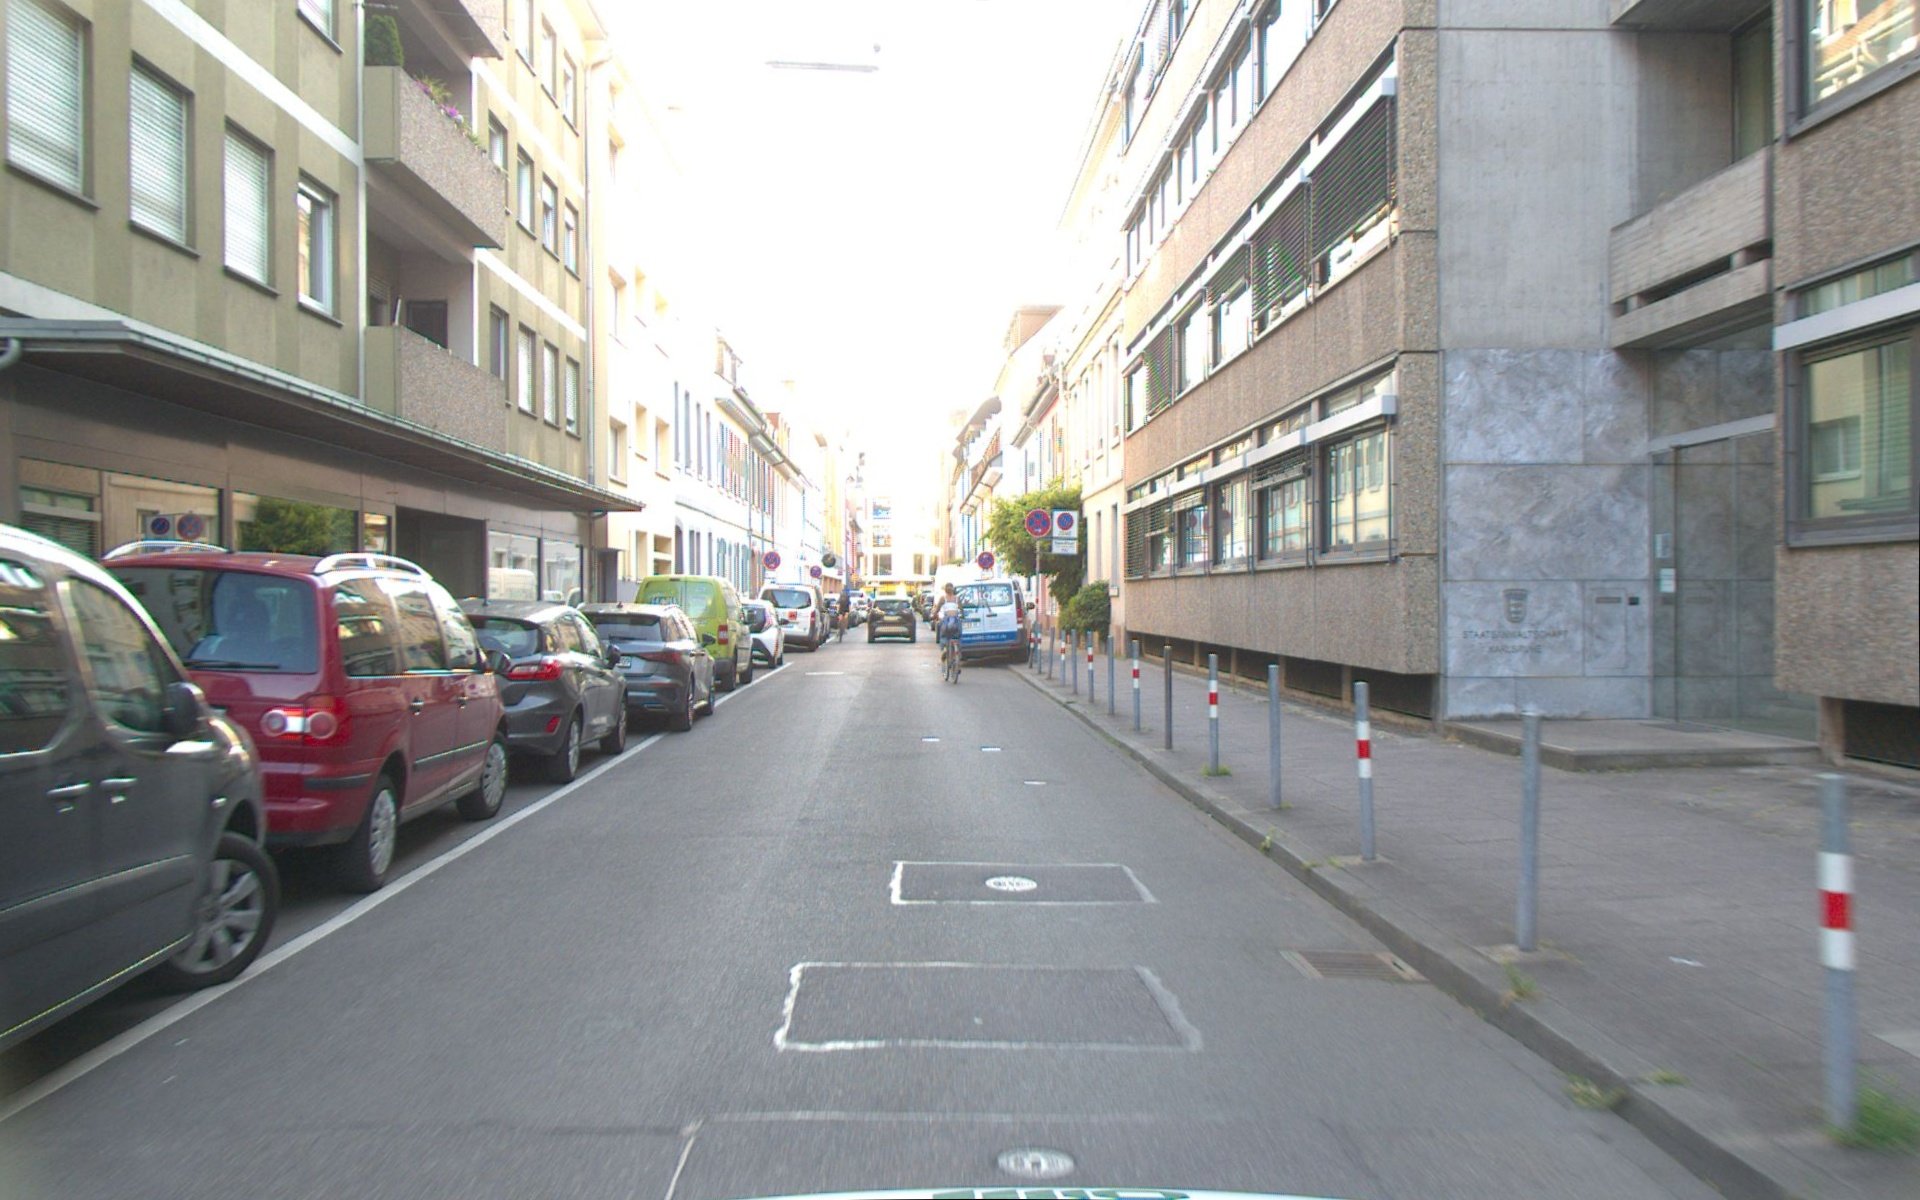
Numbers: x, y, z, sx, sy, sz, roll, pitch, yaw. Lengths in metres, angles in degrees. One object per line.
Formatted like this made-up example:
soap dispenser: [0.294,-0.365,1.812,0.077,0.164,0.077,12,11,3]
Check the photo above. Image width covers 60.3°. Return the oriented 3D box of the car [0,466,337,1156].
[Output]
car: [-3.539,0.555,5.104,1.840,1.843,4.446,1,0,-5]

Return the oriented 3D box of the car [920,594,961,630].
car: [-0.920,0.557,79.023,1.782,1.556,5.070,-4,0,0]

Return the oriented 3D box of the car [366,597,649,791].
car: [-3.940,0.745,15.007,1.591,1.511,3.876,-1,0,-2]

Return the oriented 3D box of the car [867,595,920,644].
car: [-2.334,0.678,58.514,1.783,1.646,3.998,1,0,-2]

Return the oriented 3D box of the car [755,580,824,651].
car: [-5.119,0.438,50.225,1.825,2.049,5.103,0,0,-3]

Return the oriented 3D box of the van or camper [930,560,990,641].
van or camper: [-0.039,0.003,59.124,2.008,2.683,7.061,0,0,-1]

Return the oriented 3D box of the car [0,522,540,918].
car: [-3.884,0.560,9.992,1.737,1.843,4.508,1,0,-3]

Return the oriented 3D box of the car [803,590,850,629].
car: [-5.969,0.403,74.162,1.766,1.706,4.489,0,0,0]

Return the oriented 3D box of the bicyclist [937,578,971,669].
bicyclist: [-0.114,0.419,29.719,0.608,1.602,0.683,0,0,-1]

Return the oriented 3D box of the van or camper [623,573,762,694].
van or camper: [-4.441,0.515,28.016,1.736,1.880,4.177,-1,0,-1]

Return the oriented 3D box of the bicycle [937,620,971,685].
bicycle: [-0.116,0.923,29.688,0.601,1.101,1.809,0,0,-1]

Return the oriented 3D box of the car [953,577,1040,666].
car: [0.890,0.466,39.155,1.896,1.931,5.278,-1,0,2]

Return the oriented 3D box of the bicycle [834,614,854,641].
bicycle: [-4.127,0.980,58.842,0.621,0.938,1.779,0,0,-2]

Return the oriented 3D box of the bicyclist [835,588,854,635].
bicyclist: [-4.106,0.398,58.786,0.611,1.668,1.081,0,0,-2]

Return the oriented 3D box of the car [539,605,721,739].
car: [-3.873,0.792,19.981,1.592,1.440,3.978,1,0,-3]

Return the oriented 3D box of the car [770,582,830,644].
car: [-5.443,0.423,56.813,1.825,2.049,4.811,0,0,-3]

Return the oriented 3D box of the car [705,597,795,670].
car: [-4.676,0.725,37.236,1.629,1.474,3.519,3,0,-2]

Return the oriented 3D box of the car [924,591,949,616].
car: [-1.556,0.246,108.774,1.620,1.588,3.604,1,0,-2]

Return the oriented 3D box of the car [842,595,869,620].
car: [-6.854,0.501,108.413,1.620,1.588,3.604,1,0,-2]

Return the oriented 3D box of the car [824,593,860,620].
car: [-6.532,0.346,91.844,1.880,1.459,4.290,1,0,-3]
